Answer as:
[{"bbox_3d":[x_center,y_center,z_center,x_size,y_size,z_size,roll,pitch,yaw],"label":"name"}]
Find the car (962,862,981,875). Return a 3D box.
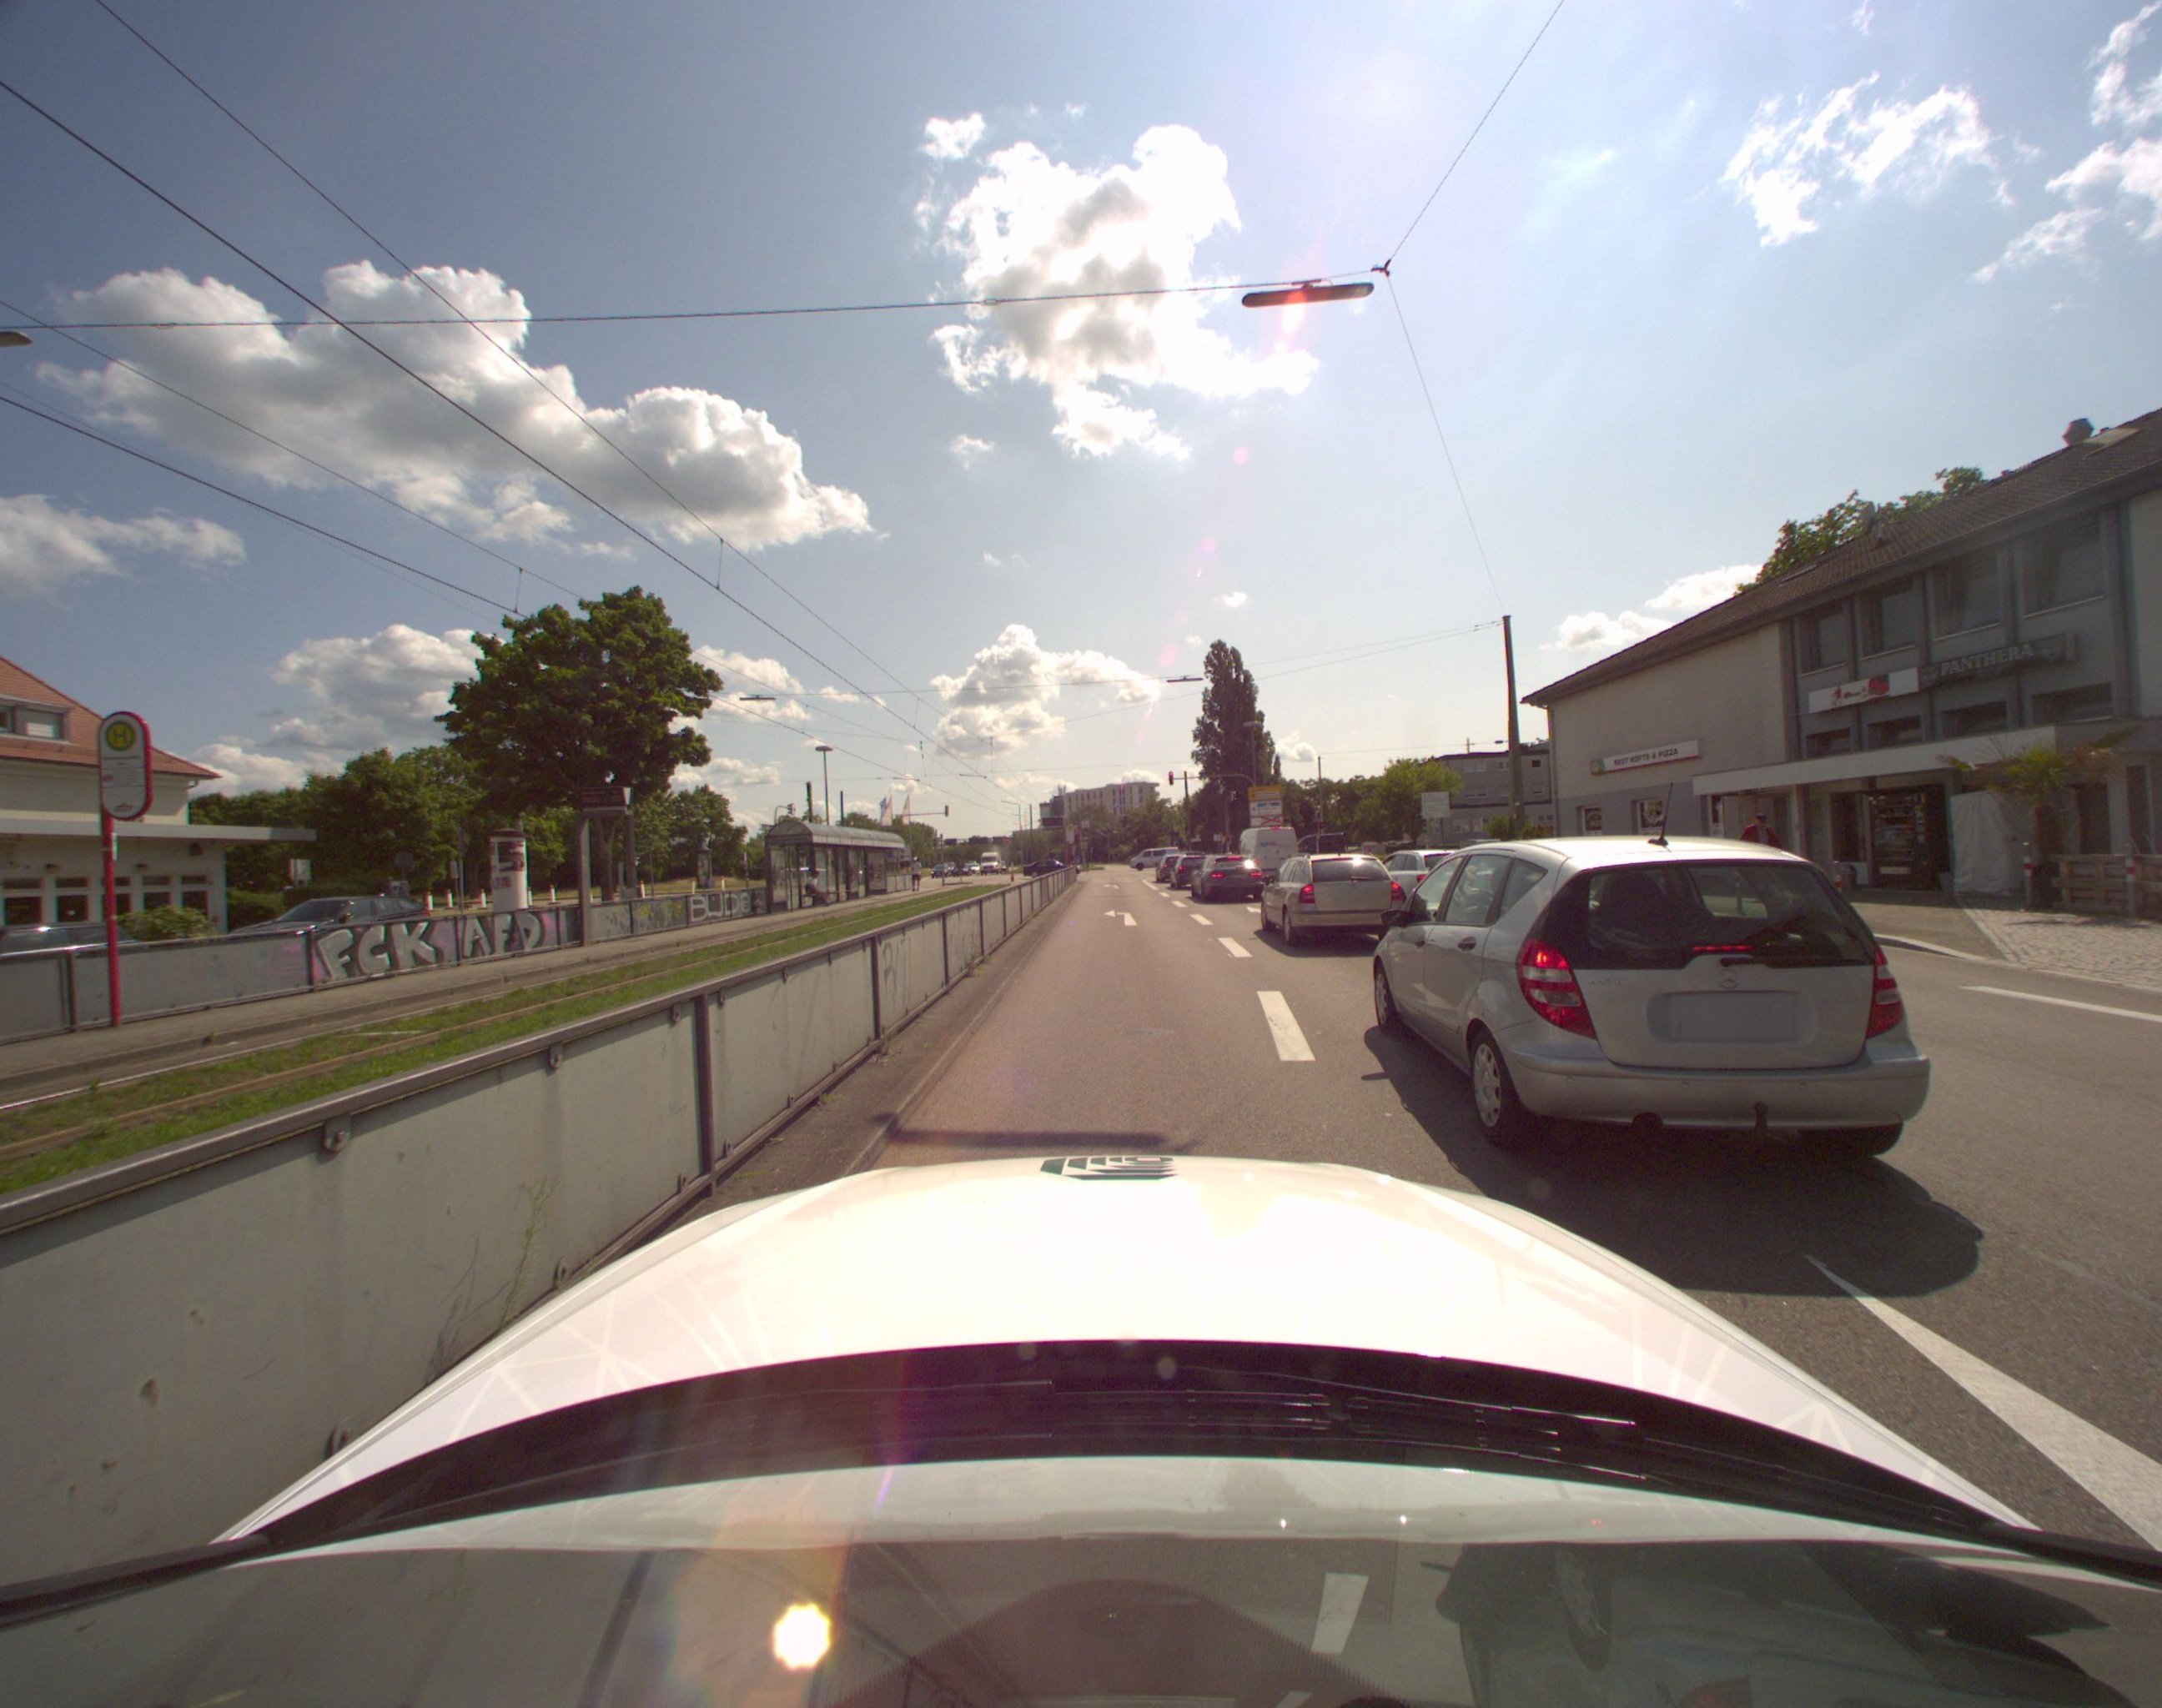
[{"bbox_3d":[-13.506,1.783,100.520,1.797,1.541,4.161,-1,0,-2],"label":"car"}]

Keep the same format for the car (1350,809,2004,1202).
[{"bbox_3d":[3.100,0.629,5.417,1.777,1.577,4.104,-3,0,9],"label":"car"}]

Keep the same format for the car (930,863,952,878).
[{"bbox_3d":[-16.147,1.872,94.067,1.858,1.651,3.996,-1,0,-2],"label":"car"}]

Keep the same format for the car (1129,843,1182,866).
[{"bbox_3d":[6.759,0.052,74.507,4.659,1.936,2.001,-2,0,1],"label":"car"}]

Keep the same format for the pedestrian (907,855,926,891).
[{"bbox_3d":[-8.574,0.983,42.442,0.805,1.795,0.708,-3,0,-1],"label":"pedestrian"}]

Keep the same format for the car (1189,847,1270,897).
[{"bbox_3d":[4.751,0.521,26.699,1.880,1.448,4.830,-2,0,2],"label":"car"}]

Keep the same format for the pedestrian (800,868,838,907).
[{"bbox_3d":[-9.712,1.223,30.197,1.055,1.376,0.861,-1,0,1],"label":"pedestrian"}]

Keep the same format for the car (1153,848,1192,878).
[{"bbox_3d":[4.883,0.456,43.879,1.738,1.499,4.381,-2,0,2],"label":"car"}]

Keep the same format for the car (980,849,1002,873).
[{"bbox_3d":[-10.218,0.736,92.606,1.987,2.606,4.877,-1,0,0],"label":"car"}]

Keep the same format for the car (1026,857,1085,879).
[{"bbox_3d":[-1.946,1.063,63.019,4.443,1.514,2.001,-1,0,2],"label":"car"}]

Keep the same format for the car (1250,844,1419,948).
[{"bbox_3d":[4.229,0.615,14.355,1.731,1.492,4.634,-2,0,3],"label":"car"}]

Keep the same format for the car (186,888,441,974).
[{"bbox_3d":[-19.043,1.825,20.611,2.056,1.614,4.747,-3,0,-4],"label":"car"}]

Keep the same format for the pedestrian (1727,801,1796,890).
[{"bbox_3d":[14.214,-0.175,17.025,0.718,1.782,0.704,-5,0,4],"label":"pedestrian"}]

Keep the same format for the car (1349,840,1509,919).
[{"bbox_3d":[7.634,0.500,18.400,1.847,1.492,4.540,-2,0,3],"label":"car"}]

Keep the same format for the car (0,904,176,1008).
[{"bbox_3d":[-19.151,1.852,14.375,1.778,1.584,3.934,-3,0,4],"label":"car"}]

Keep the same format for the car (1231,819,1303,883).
[{"bbox_3d":[8.172,-0.132,36.316,2.033,2.557,5.233,-3,0,1],"label":"car"}]

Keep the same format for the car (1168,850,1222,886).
[{"bbox_3d":[4.952,0.578,35.801,1.862,1.419,4.101,-2,0,2],"label":"car"}]

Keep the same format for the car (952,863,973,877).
[{"bbox_3d":[-13.330,1.793,91.966,1.891,1.541,3.726,-1,0,-2],"label":"car"}]
